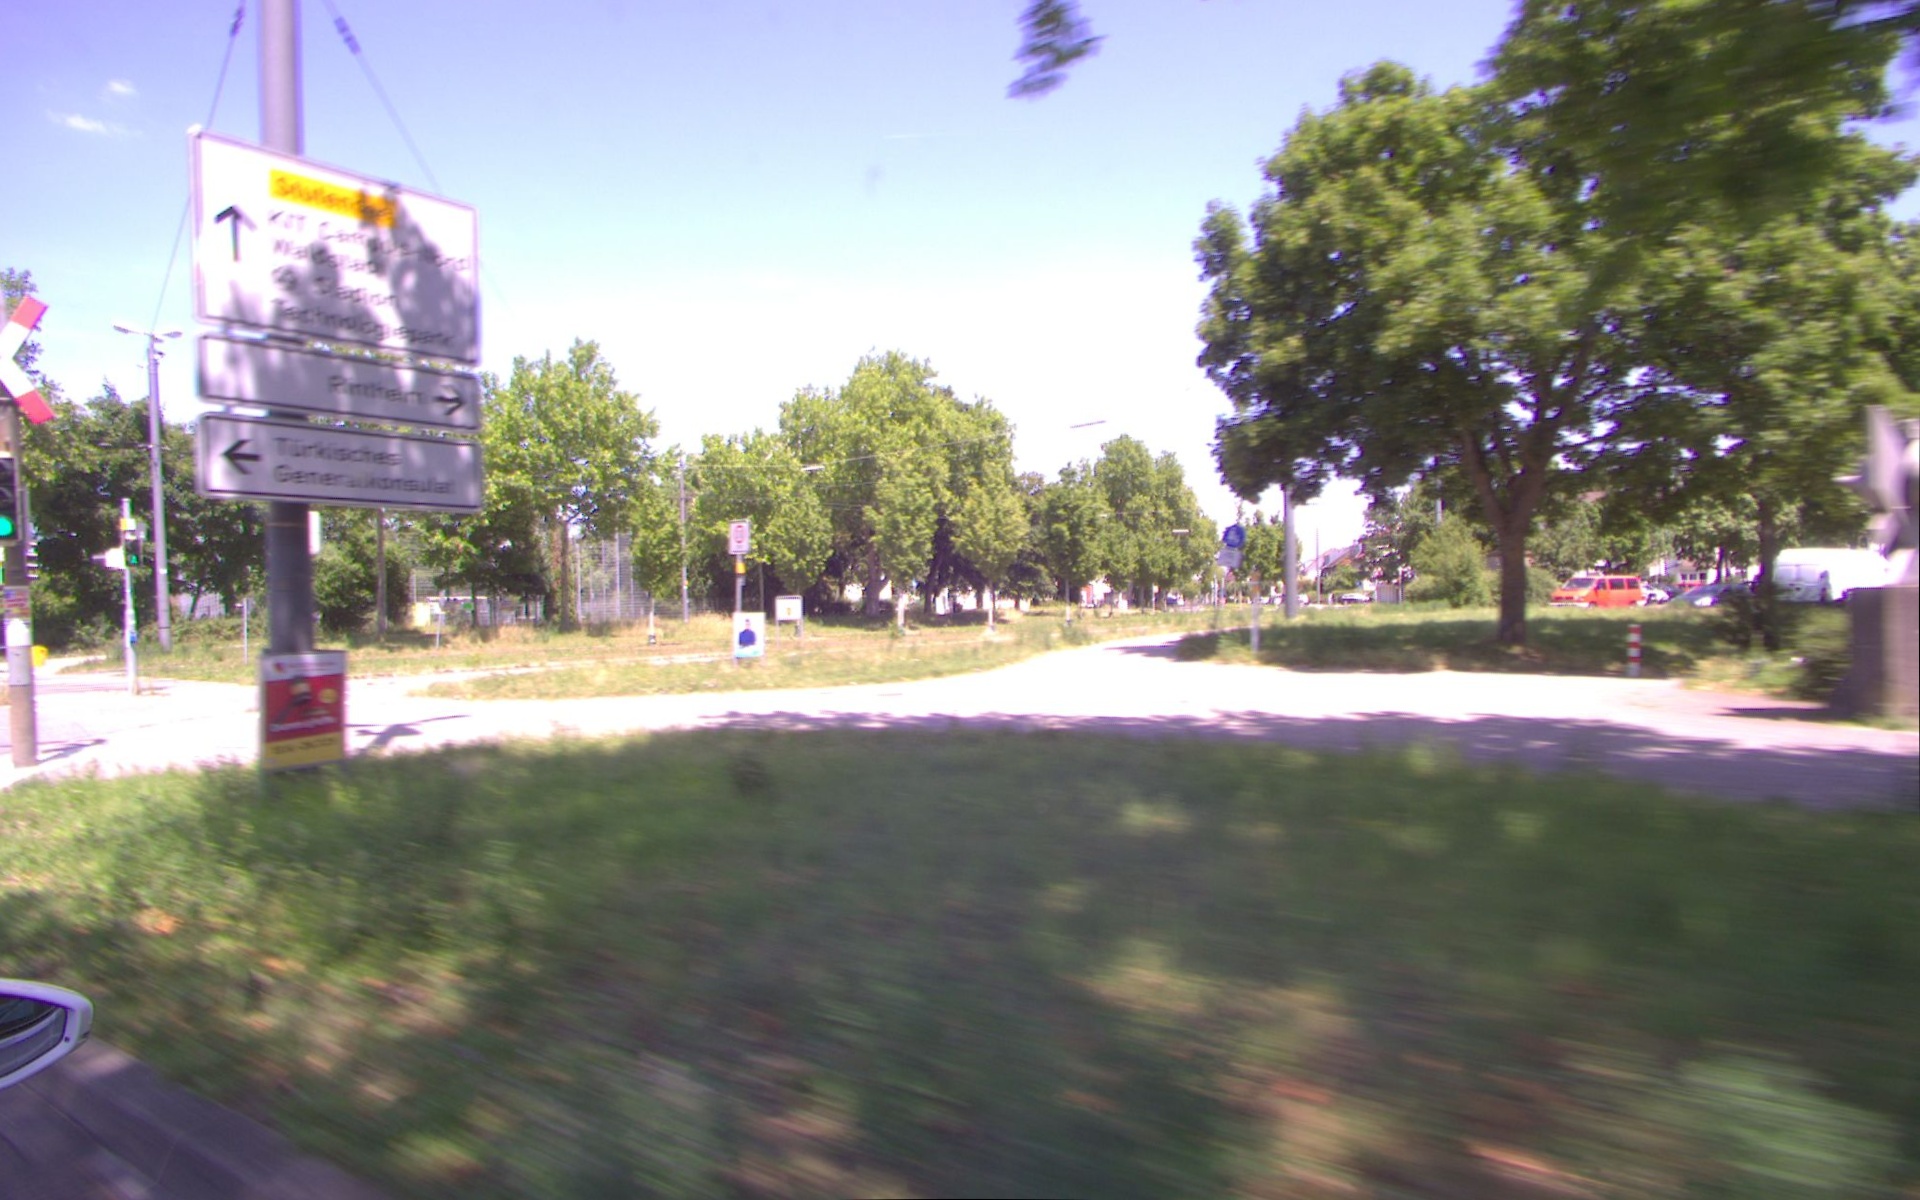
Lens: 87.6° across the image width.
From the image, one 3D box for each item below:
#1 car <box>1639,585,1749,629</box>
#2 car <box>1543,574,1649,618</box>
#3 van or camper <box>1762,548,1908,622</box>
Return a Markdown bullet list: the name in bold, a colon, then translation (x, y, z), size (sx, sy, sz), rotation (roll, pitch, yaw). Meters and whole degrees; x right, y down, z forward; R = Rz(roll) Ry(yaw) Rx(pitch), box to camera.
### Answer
- **car**: translation (31.196, 0.283, 42.583), size (4.002, 1.741, 1.951), rotation (-1, 0, -21)
- **car**: translation (30.801, -0.212, 48.474), size (4.585, 2.029, 2.068), rotation (-1, 0, -22)
- **van or camper**: translation (34.431, -0.599, 39.415), size (5.042, 2.787, 2.197), rotation (-1, 0, -21)
